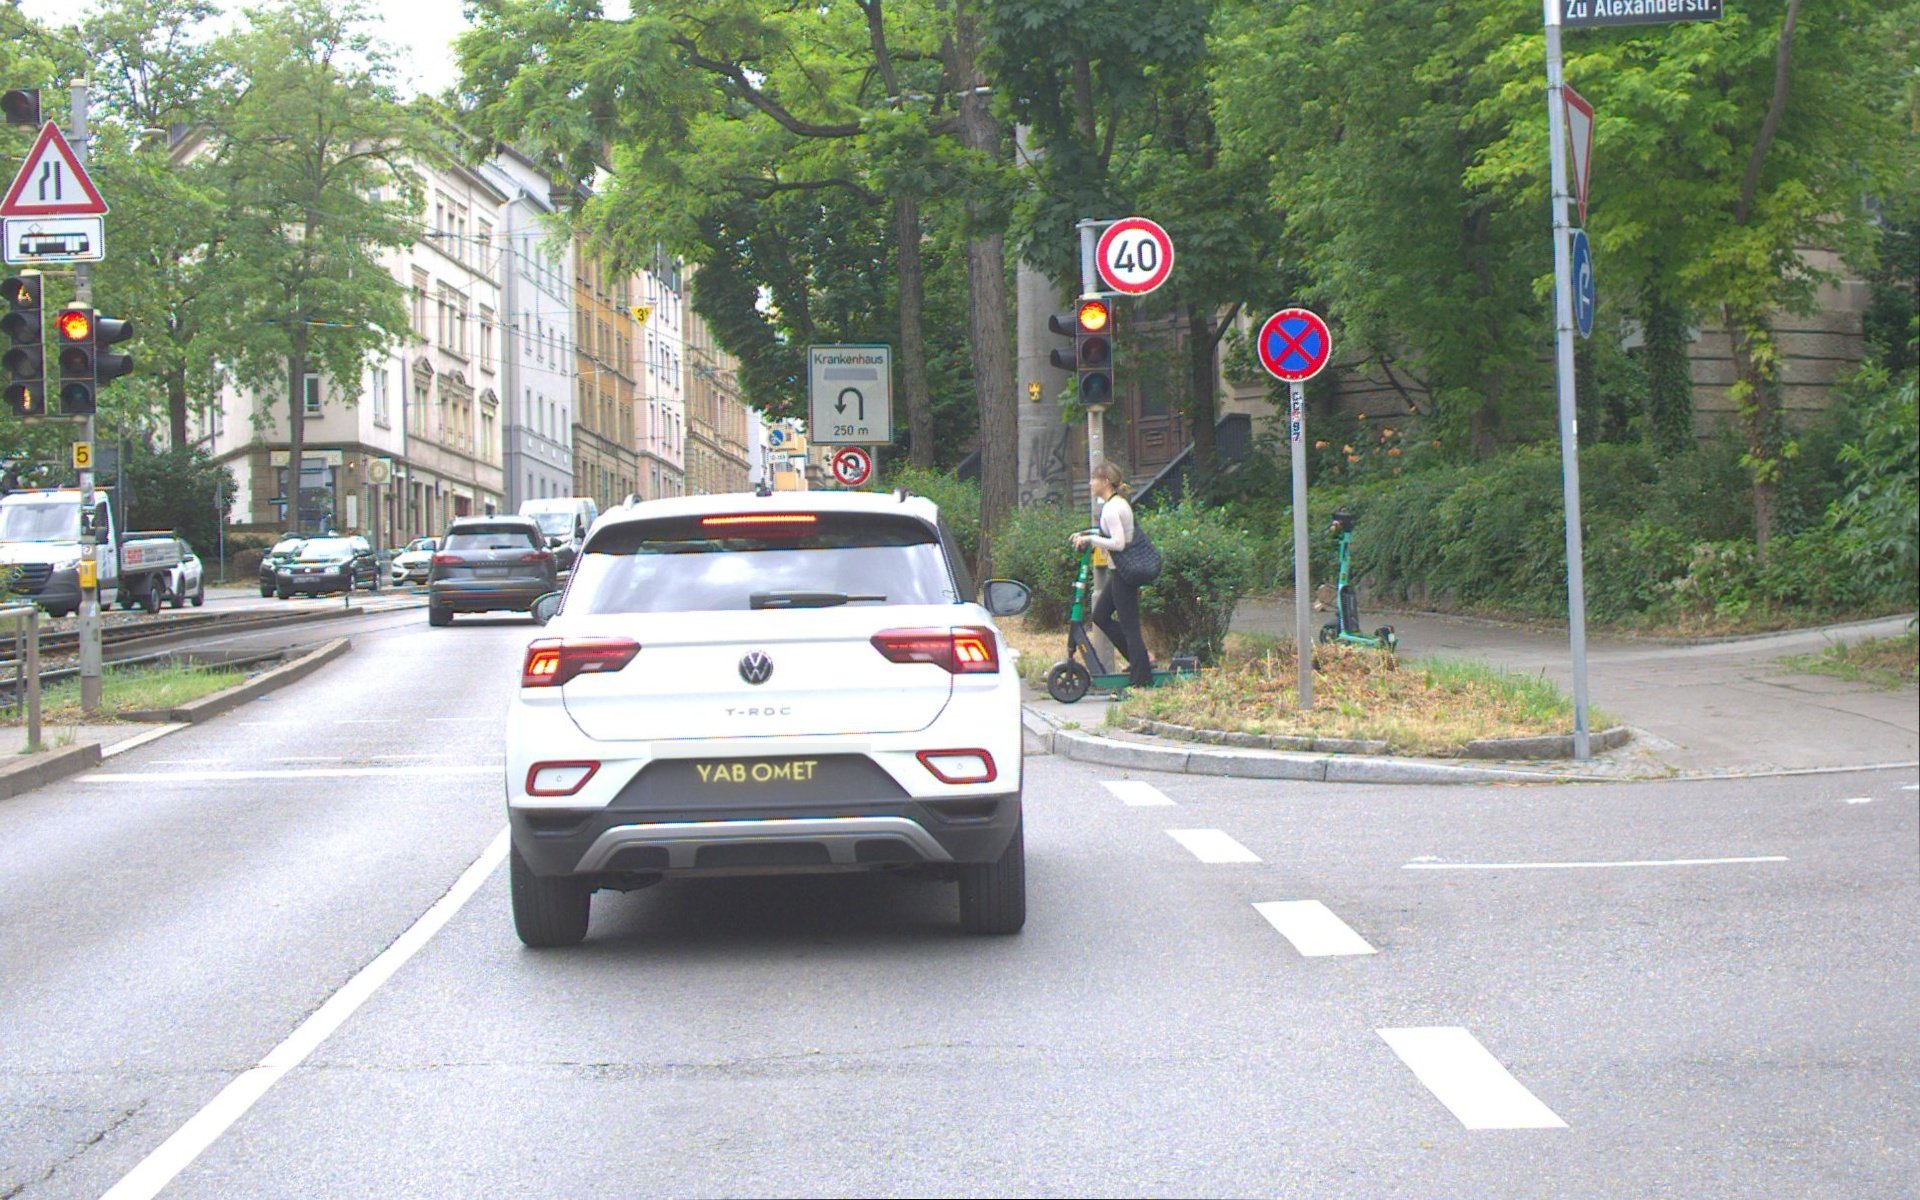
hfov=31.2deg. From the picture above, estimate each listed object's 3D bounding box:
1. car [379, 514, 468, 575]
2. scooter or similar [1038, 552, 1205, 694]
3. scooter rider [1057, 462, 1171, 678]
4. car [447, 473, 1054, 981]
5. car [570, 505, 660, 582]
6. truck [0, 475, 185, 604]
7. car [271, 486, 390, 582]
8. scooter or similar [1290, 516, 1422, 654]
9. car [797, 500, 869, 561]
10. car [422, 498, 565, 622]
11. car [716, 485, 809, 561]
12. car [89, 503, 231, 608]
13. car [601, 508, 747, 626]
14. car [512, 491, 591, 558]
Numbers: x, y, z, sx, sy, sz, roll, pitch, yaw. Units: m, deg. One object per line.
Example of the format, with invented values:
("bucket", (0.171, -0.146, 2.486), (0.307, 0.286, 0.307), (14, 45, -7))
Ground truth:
("car", (-15.763, -1.611, 101.167), (1.993, 1.618, 4.000), (1, -1, -1))
("scooter or similar", (1.203, 0.165, 25.472), (1.187, 0.991, 0.531), (-2, 1, 4))
("scooter rider", (1.148, -0.227, 25.463), (0.777, 1.552, 0.532), (-2, 1, 4))
("car", (-0.662, 0.335, 13.068), (1.938, 1.561, 4.047), (1, 3, 0))
("car", (-8.373, -1.395, 83.686), (1.826, 1.751, 3.780), (-2, 1, -1))
("truck", (-15.751, -1.091, 61.345), (2.422, 2.162, 6.034), (1, 1, 0))
("car", (-14.408, -1.491, 78.908), (1.993, 2.007, 4.000), (1, -1, -1))
("scooter or similar", (3.264, -0.132, 28.400), (0.474, 1.096, 1.369), (-3, 1, -21))
("car", (-4.768, -2.631, 130.027), (2.422, 2.162, 6.034), (-2, 1, 0))
("car", (-7.164, -0.656, 53.156), (1.839, 1.733, 4.001), (-2, 2, -3))
("car", (-5.992, -2.373, 105.076), (2.422, 2.162, 6.034), (-2, 1, 0))
("car", (-16.525, -0.898, 71.211), (1.993, 2.007, 4.000), (1, -1, 0))
("car", (-4.100, -0.441, 49.783), (1.902, 1.569, 3.834), (1, -1, -2))
("car", (-12.898, -2.394, 108.692), (1.993, 2.007, 4.000), (-2, 1, -1))
